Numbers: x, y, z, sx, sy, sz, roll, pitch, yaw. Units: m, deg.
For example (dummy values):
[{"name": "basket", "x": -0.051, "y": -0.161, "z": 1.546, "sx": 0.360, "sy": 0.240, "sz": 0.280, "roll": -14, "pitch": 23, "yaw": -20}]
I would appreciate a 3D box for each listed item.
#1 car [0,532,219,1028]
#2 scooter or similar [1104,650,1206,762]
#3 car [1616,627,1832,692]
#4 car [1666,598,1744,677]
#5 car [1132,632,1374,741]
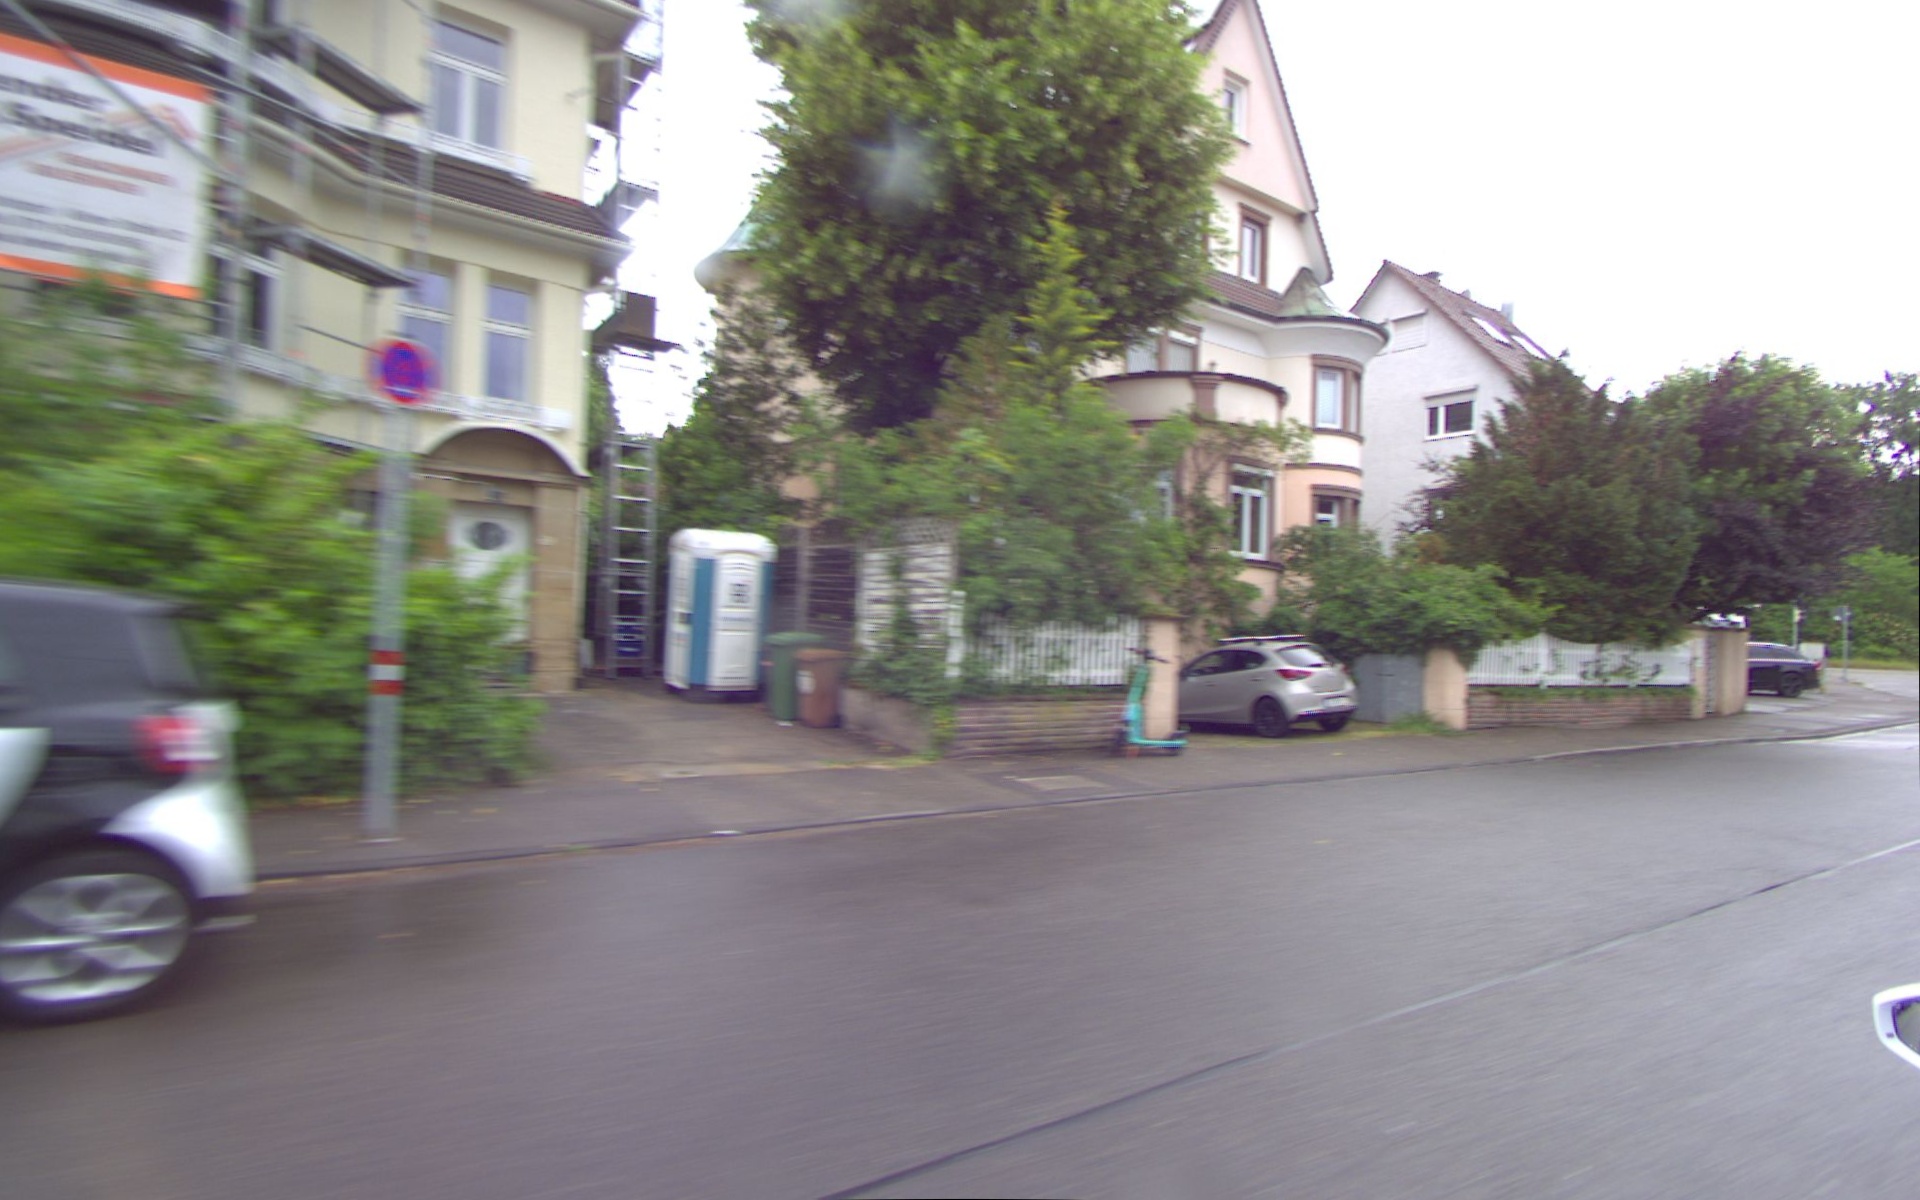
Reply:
[{"name": "car", "x": -4.491, "y": 0.545, "z": 3.245, "sx": 3.286, "sy": 1.615, "sz": 1.584, "roll": 3, "pitch": -2, "yaw": -36}, {"name": "scooter or similar", "x": 2.234, "y": 1.195, "z": 11.489, "sx": 1.127, "sy": 1.204, "sz": 0.400, "roll": 2, "pitch": 0, "yaw": -30}, {"name": "car", "x": 21.316, "y": 1.637, "z": 28.149, "sx": 4.590, "sy": 1.515, "sz": 1.804, "roll": 2, "pitch": 1, "yaw": 1}, {"name": "car", "x": 25.908, "y": 1.293, "z": 34.900, "sx": 1.968, "sy": 2.480, "sz": 5.473, "roll": 2, "pitch": -1, "yaw": 37}, {"name": "car", "x": 4.765, "y": 1.350, "z": 16.716, "sx": 1.693, "sy": 1.561, "sz": 3.557, "roll": 0, "pitch": -2, "yaw": -36}]
